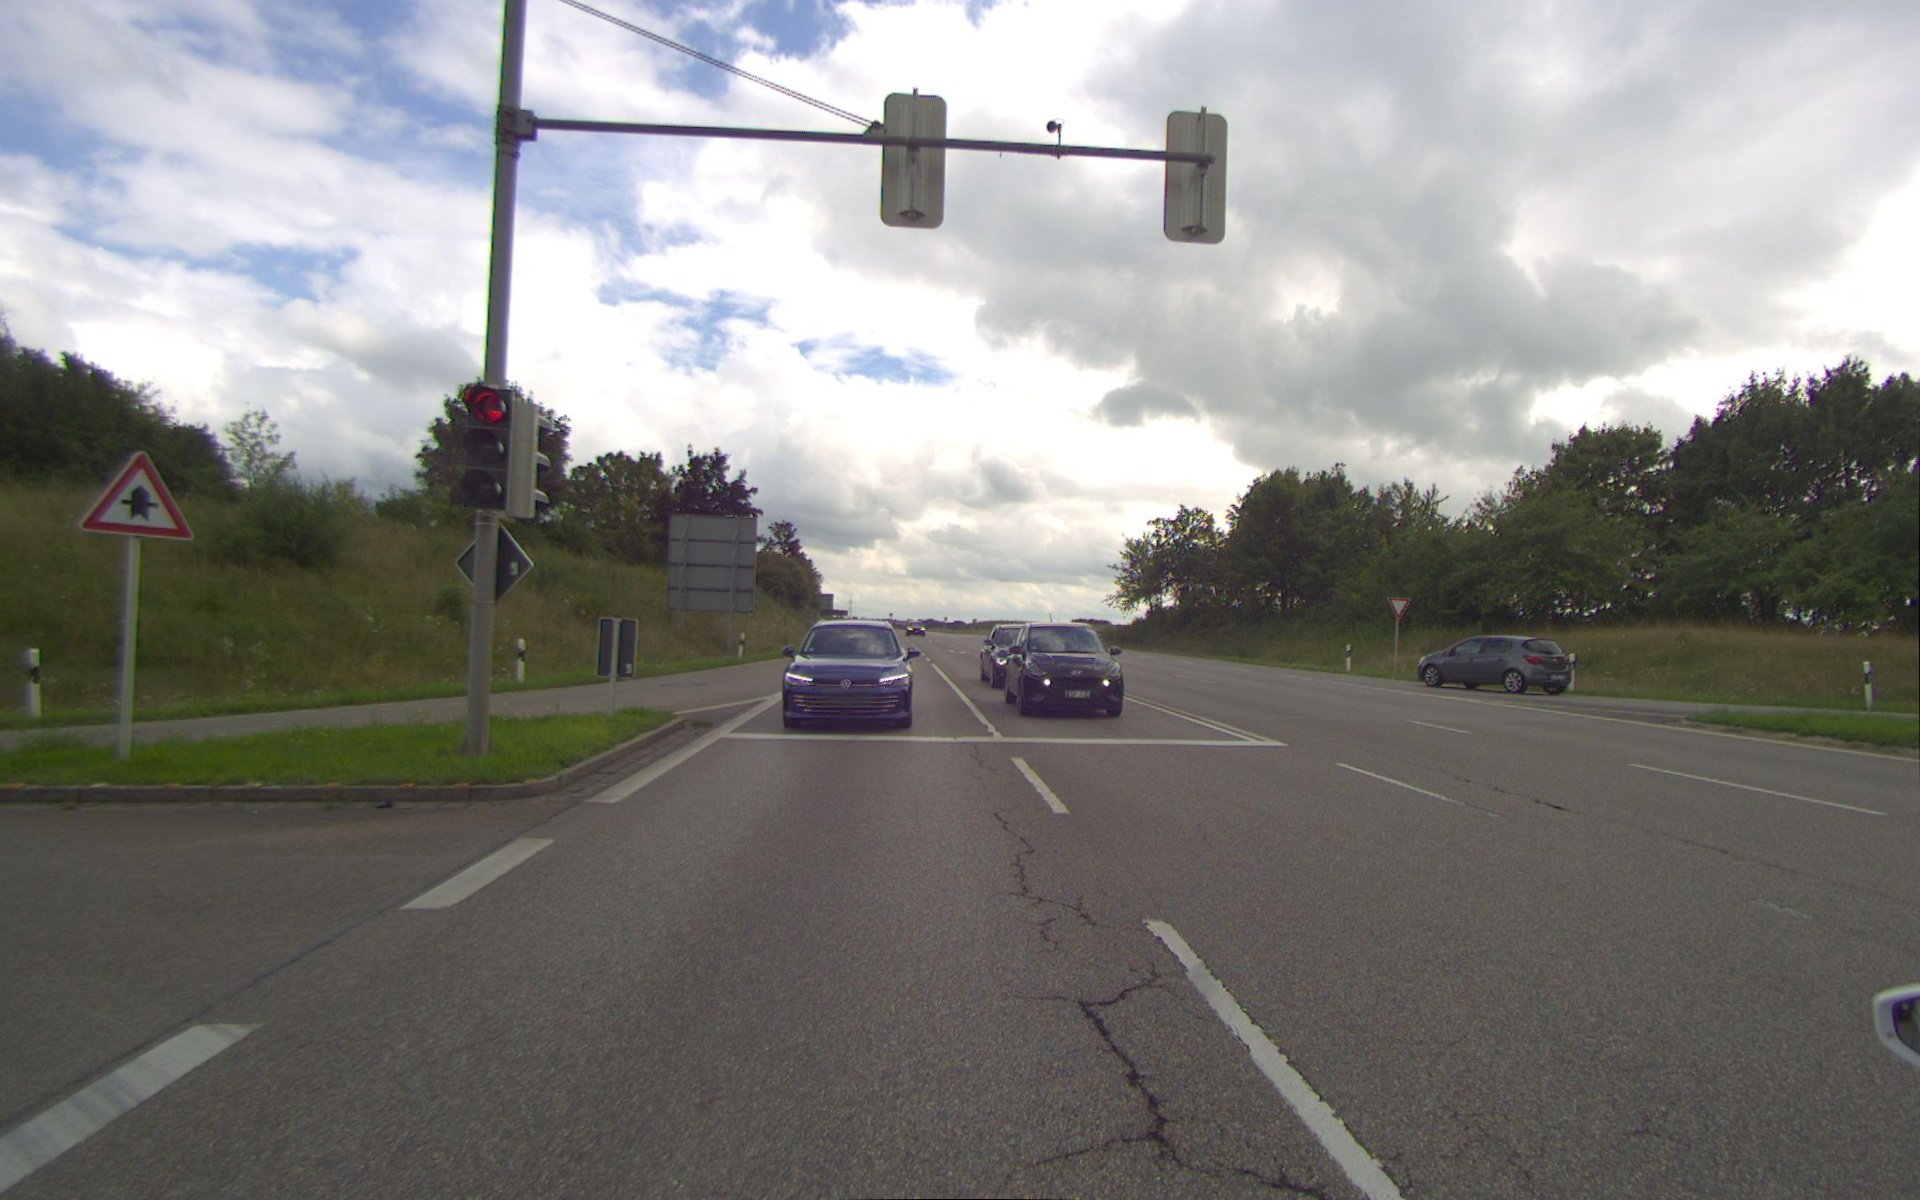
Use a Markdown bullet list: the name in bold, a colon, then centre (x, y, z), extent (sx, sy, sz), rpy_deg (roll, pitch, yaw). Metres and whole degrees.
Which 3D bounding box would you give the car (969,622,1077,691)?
- **car**: centre (1.423, 1.311, 24.595), extent (2.016, 1.503, 4.879), rpy_deg (0, -1, -4)

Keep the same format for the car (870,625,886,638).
- **car**: centre (-10.229, 3.910, 125.005), extent (1.962, 1.514, 4.989), rpy_deg (1, -1, -5)

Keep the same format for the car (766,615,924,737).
- **car**: centre (-1.711, 1.045, 15.655), extent (2.013, 1.555, 5.123), rpy_deg (1, -1, -5)

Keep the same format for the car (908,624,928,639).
- **car**: centre (-4.124, 3.035, 98.064), extent (1.737, 1.401, 4.540), rpy_deg (1, -1, -5)

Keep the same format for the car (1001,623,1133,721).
- **car**: centre (1.738, 1.154, 17.433), extent (1.698, 1.462, 3.943), rpy_deg (1, -1, -2)

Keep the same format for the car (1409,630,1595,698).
- **car**: centre (14.332, 1.666, 26.809), extent (1.973, 1.555, 3.975), rpy_deg (3, -1, -25)
